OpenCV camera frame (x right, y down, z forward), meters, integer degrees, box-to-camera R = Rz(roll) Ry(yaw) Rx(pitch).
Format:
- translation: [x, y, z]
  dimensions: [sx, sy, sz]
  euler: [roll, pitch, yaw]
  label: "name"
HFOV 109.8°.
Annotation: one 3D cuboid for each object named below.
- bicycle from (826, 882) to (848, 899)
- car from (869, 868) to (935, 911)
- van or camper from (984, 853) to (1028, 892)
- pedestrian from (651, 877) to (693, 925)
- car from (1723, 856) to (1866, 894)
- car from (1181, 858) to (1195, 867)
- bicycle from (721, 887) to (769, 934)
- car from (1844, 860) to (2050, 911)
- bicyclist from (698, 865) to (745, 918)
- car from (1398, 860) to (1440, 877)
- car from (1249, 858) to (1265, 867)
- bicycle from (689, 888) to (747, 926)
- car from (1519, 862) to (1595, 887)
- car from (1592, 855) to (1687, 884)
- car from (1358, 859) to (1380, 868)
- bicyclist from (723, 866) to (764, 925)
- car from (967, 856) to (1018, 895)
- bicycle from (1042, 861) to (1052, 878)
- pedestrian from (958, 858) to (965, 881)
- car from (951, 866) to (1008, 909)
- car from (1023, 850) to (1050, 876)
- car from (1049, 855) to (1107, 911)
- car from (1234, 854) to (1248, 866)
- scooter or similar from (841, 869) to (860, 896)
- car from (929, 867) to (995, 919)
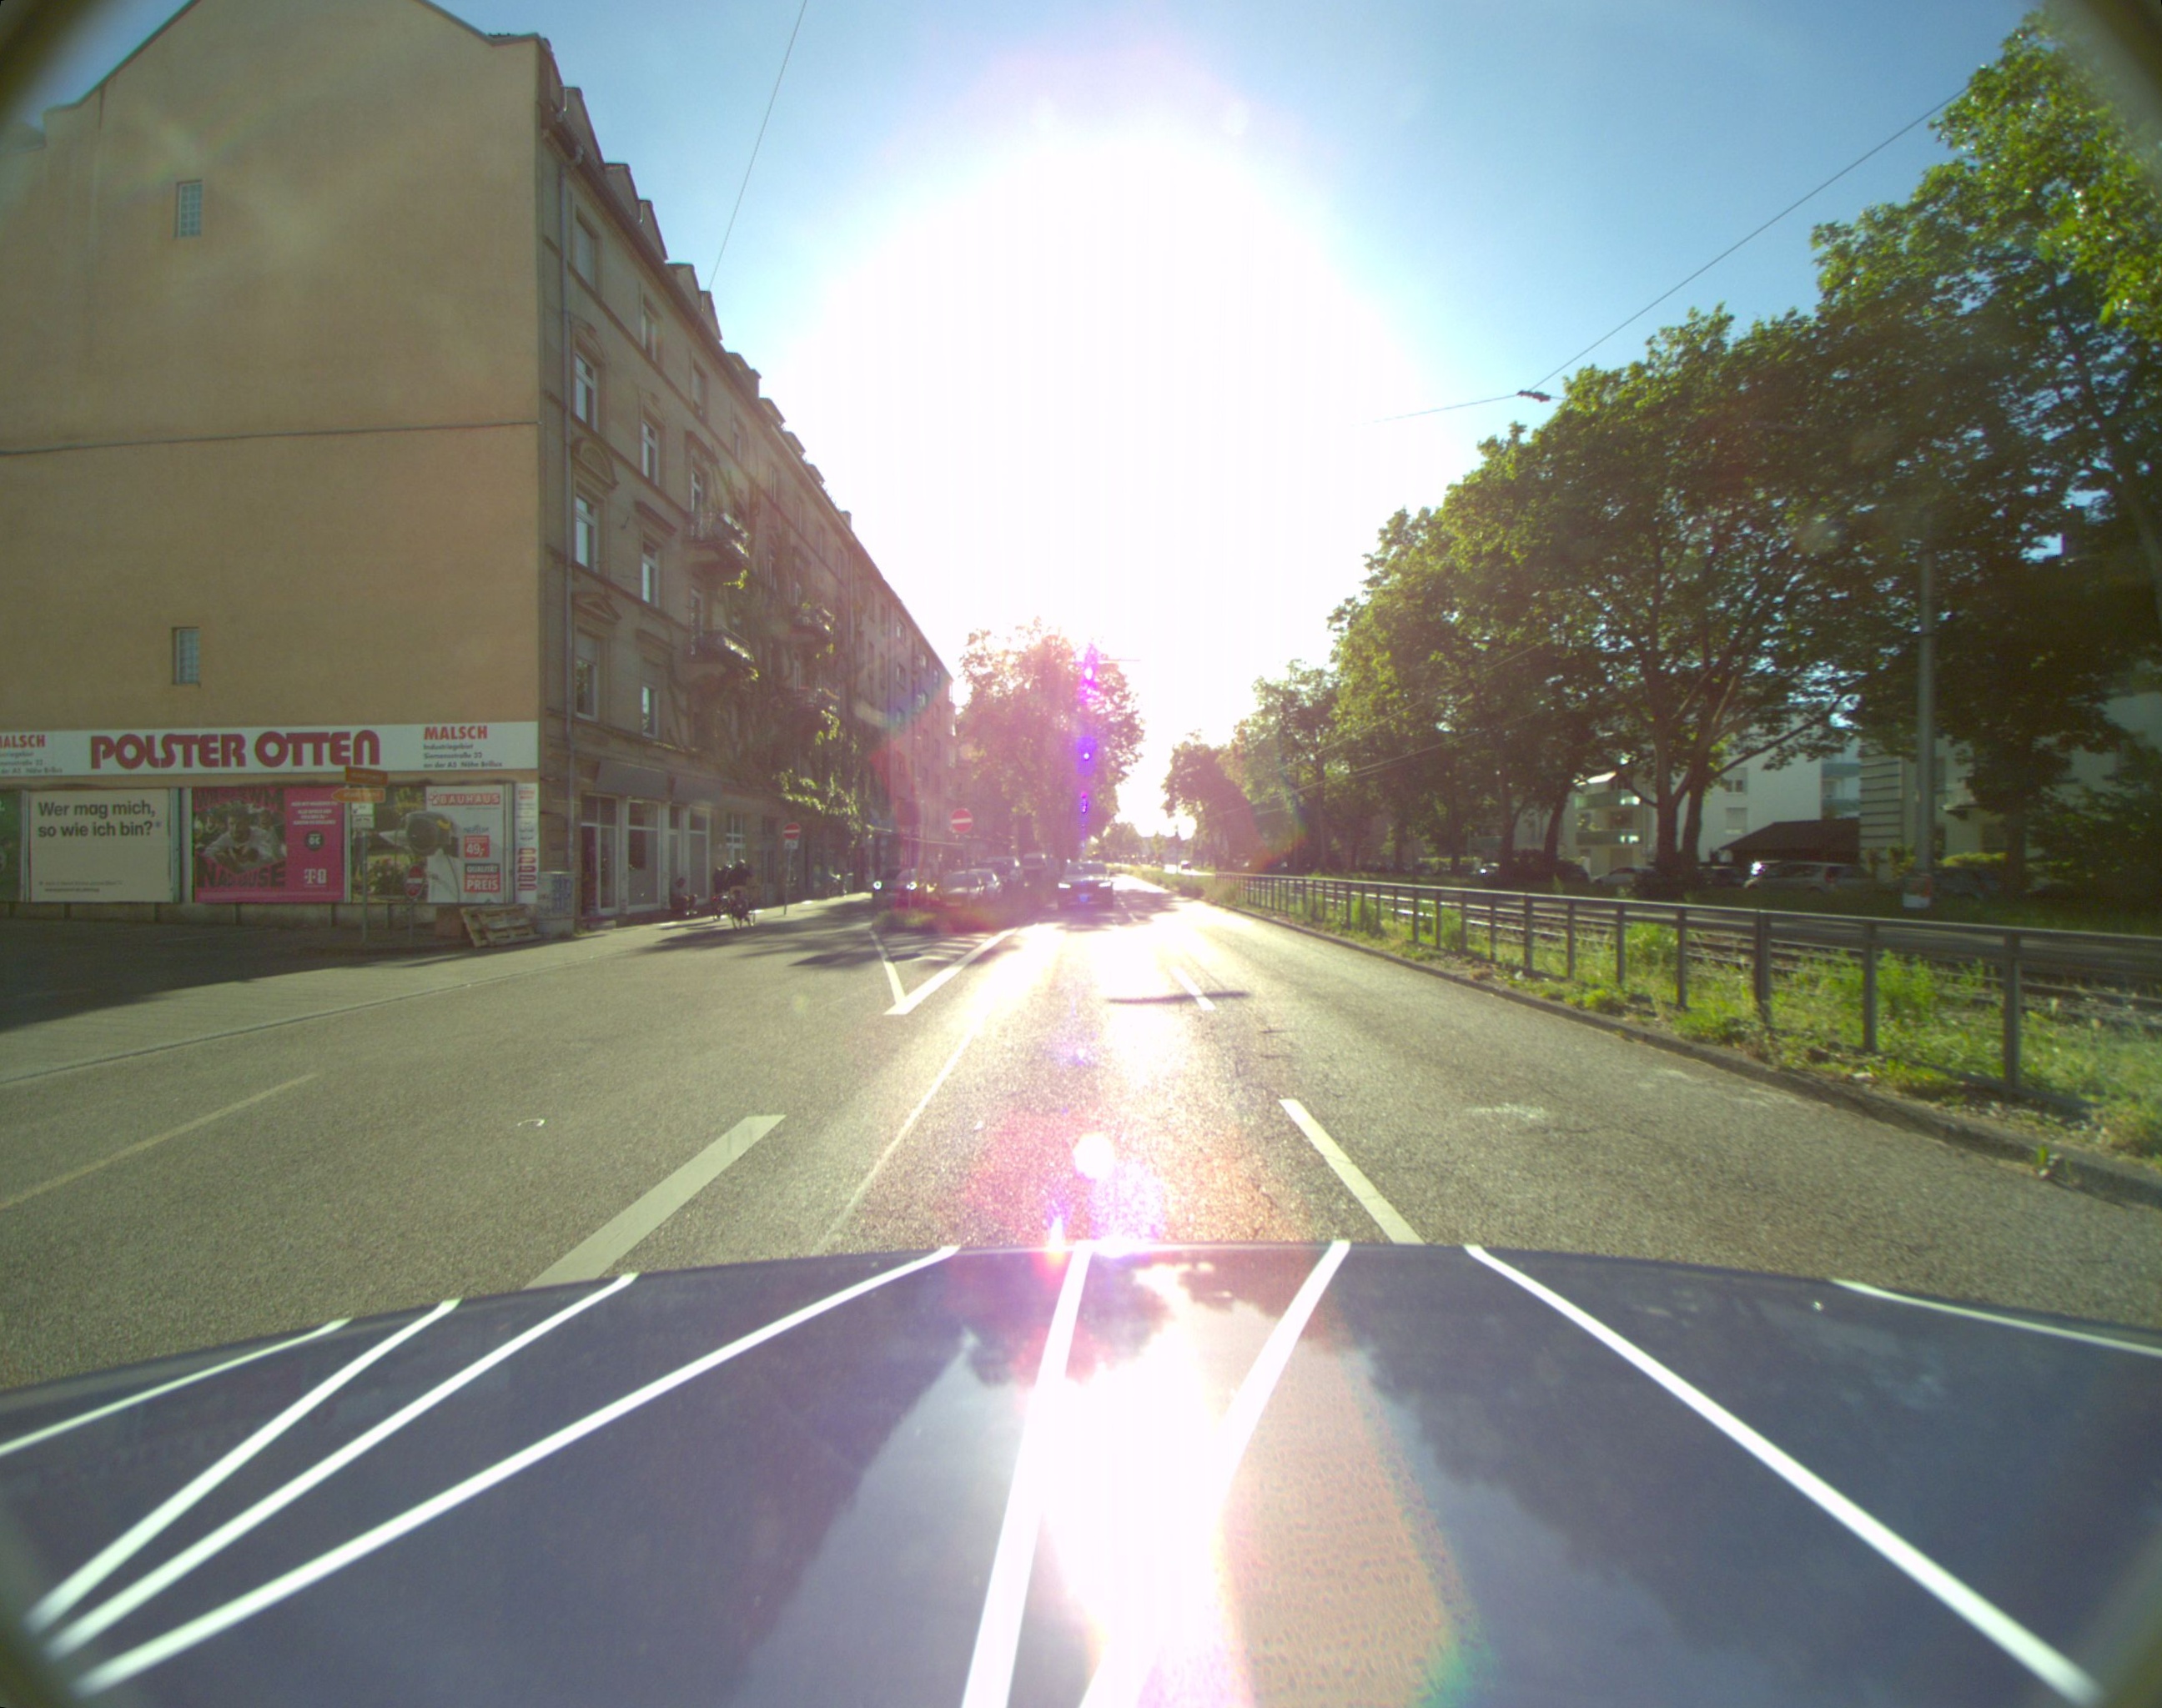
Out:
- translation: [-10.995, 1.629, 34.283]
  dimensions: [0.469, 0.701, 1.513]
  euler: [0, 0, 1]
  label: "bicycle"
- translation: [-7.280, 1.396, 31.290]
  dimensions: [1.702, 1.519, 4.380]
  euler: [-1, 0, -1]
  label: "car"
- translation: [-3.995, 0.950, 41.359]
  dimensions: [1.888, 2.002, 5.094]
  euler: [0, 0, 0]
  label: "van or camper"
- translation: [-11.319, 1.281, 21.049]
  dimensions: [0.717, 1.253, 0.713]
  euler: [3, 0, 1]
  label: "pedestrian"
- translation: [28.274, 0.791, 30.323]
  dimensions: [1.739, 1.432, 4.319]
  euler: [0, 0, 1]
  label: "car"
- translation: [19.581, 1.600, 139.254]
  dimensions: [1.862, 1.637, 4.460]
  euler: [0, 0, -1]
  label: "car"
- translation: [-8.787, 1.449, 19.939]
  dimensions: [0.759, 1.095, 1.952]
  euler: [0, 0, -12]
  label: "bicycle"
- translation: [28.305, 0.973, 25.086]
  dimensions: [1.789, 1.432, 4.317]
  euler: [-2, 0, -2]
  label: "car"
- translation: [-10.317, 1.064, 21.829]
  dimensions: [0.678, 1.437, 1.182]
  euler: [3, 0, 1]
  label: "bicyclist"
- translation: [28.773, 1.208, 64.817]
  dimensions: [1.801, 1.464, 4.000]
  euler: [0, 0, 1]
  label: "car"
- translation: [28.466, 1.350, 122.891]
  dimensions: [1.771, 1.477, 3.688]
  euler: [0, 0, 1]
  label: "car"
- translation: [-10.324, 1.489, 21.681]
  dimensions: [0.651, 0.914, 1.918]
  euler: [3, 0, 1]
  label: "bicycle"
- translation: [28.595, 1.188, 45.821]
  dimensions: [1.998, 1.444, 4.319]
  euler: [0, 0, 1]
  label: "car"
- translation: [28.592, 0.762, 39.084]
  dimensions: [1.644, 1.316, 4.461]
  euler: [2, 0, 1]
  label: "car"
- translation: [28.359, 0.954, 74.845]
  dimensions: [1.109, 0.871, 3.060]
  euler: [0, 0, 1]
  label: "car"
- translation: [-8.746, 1.049, 19.724]
  dimensions: [0.747, 1.453, 0.950]
  euler: [-2, 0, -11]
  label: "bicyclist"
- translation: [-4.105, 0.967, 35.834]
  dimensions: [1.869, 1.753, 4.000]
  euler: [0, 0, 1]
  label: "car"
- translation: [-2.502, 1.120, 56.303]
  dimensions: [0.466, 1.207, 1.751]
  euler: [-1, 1, 5]
  label: "bicycle"
- translation: [-9.371, 1.216, 59.727]
  dimensions: [0.470, 1.822, 0.516]
  euler: [0, 0, 1]
  label: "pedestrian"
- translation: [-4.020, 1.283, 30.604]
  dimensions: [1.743, 1.508, 4.000]
  euler: [-3, 0, -1]
  label: "car"
- translation: [-4.290, 0.856, 74.369]
  dimensions: [2.079, 2.420, 5.857]
  euler: [-1, 0, 1]
  label: "car"
- translation: [-0.049, 0.993, 27.860]
  dimensions: [1.876, 1.788, 4.633]
  euler: [-2, 0, 1]
  label: "car"
- translation: [28.132, 1.062, 133.691]
  dimensions: [1.998, 2.002, 4.002]
  euler: [0, 0, 5]
  label: "car"
- translation: [-10.719, 1.314, 35.303]
  dimensions: [0.638, 1.166, 1.731]
  euler: [0, 0, -24]
  label: "scooter or similar"
- translation: [-4.004, 1.283, 26.153]
  dimensions: [1.645, 1.508, 4.000]
  euler: [-3, 0, -1]
  label: "car"
